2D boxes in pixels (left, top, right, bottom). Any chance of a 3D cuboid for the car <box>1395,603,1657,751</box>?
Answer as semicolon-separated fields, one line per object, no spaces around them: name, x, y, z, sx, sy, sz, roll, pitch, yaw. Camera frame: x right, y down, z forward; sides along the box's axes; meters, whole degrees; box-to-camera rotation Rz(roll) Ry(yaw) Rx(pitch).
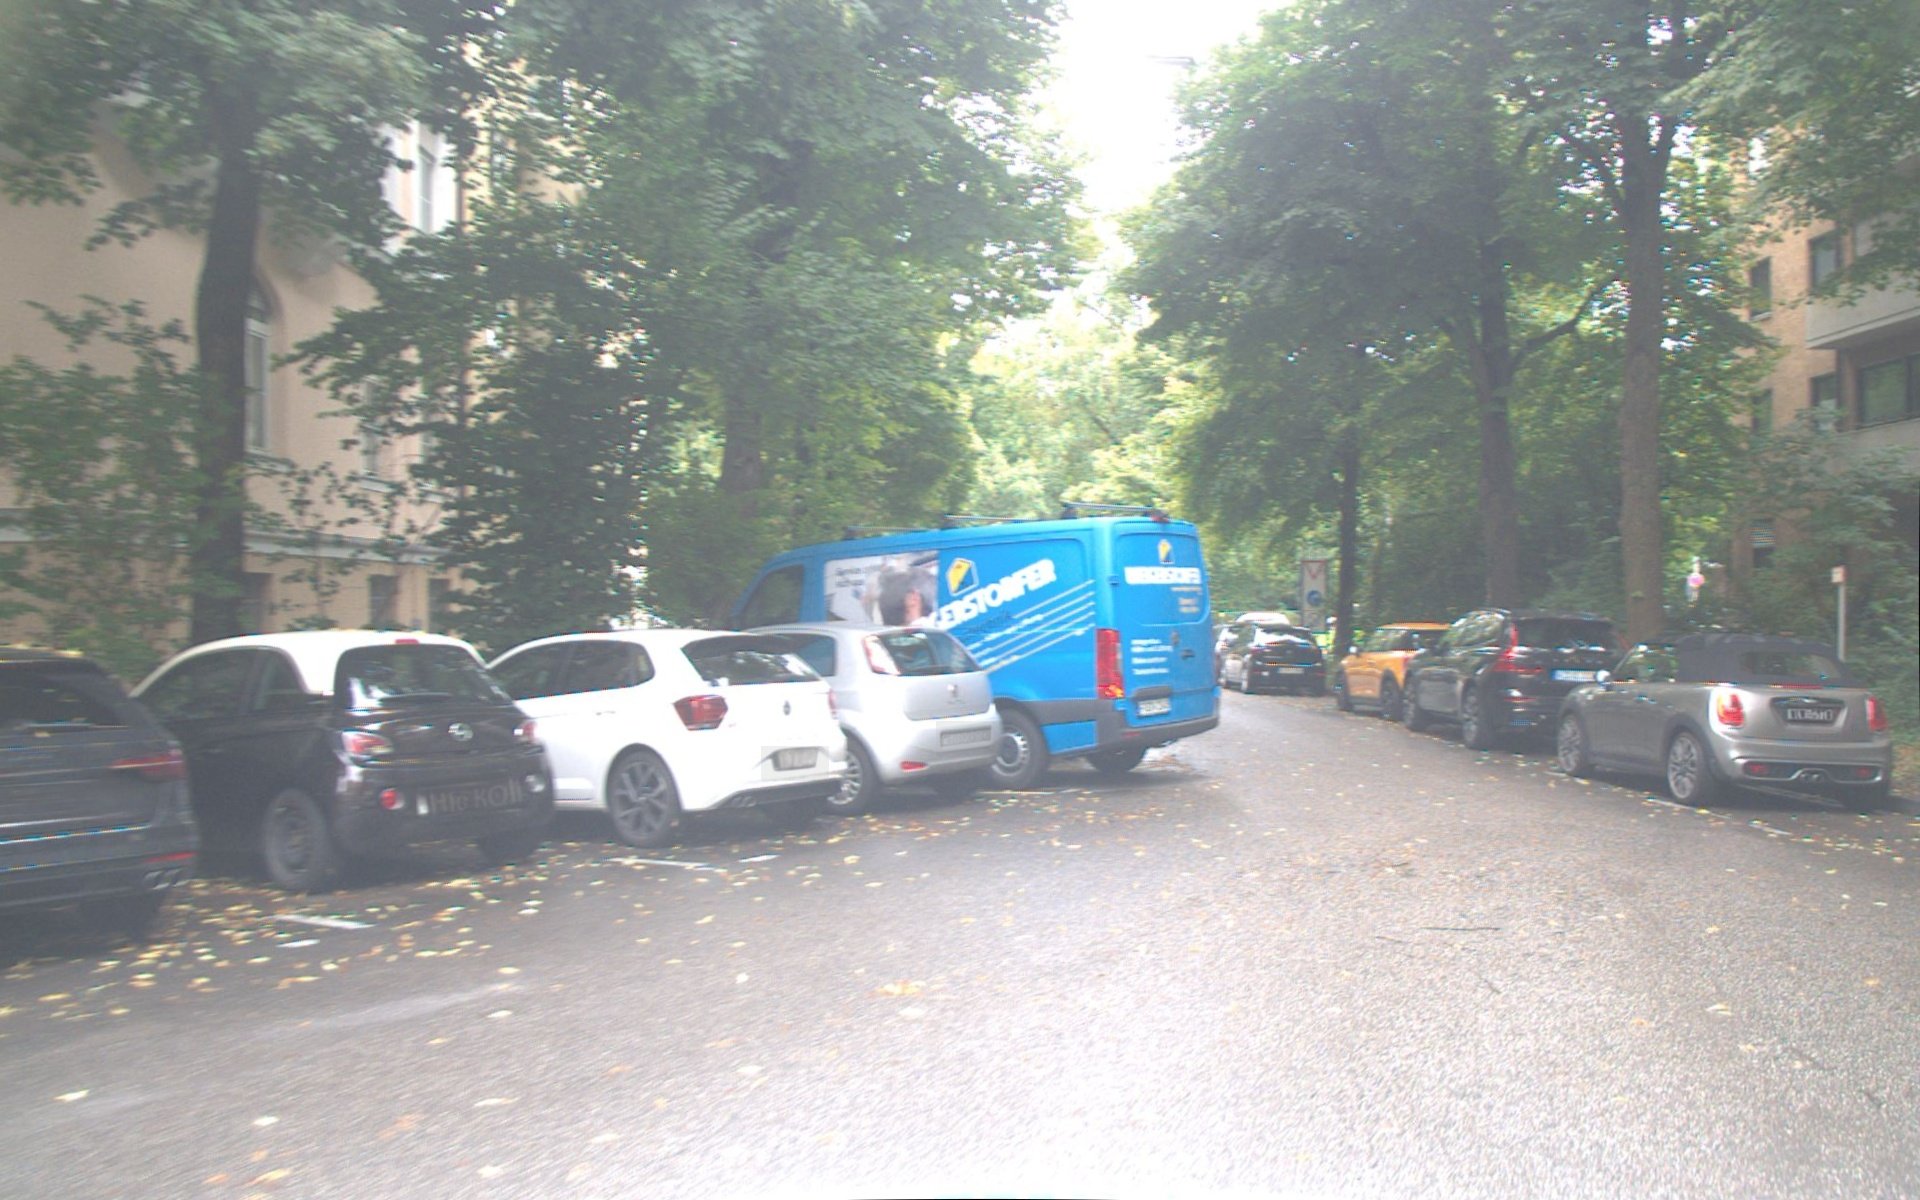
car;6.914;0.867;20.732;1.794;1.657;4.526;0;0;1

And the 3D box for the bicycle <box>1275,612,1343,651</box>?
bicycle;9.096;0.824;43.127;1.714;0.999;0.273;-1;-1;9

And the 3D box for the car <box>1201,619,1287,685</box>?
car;6.795;1.209;39.858;1.613;1.500;3.644;0;0;3

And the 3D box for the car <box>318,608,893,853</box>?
car;-2.742;0.989;12.415;4.198;1.539;1.797;-5;-3;35

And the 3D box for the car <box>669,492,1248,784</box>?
car;-0.151;0.448;16.010;5.385;2.395;2.058;-4;-2;36

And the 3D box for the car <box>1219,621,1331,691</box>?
car;6.712;1.168;35.602;1.647;1.382;4.008;0;0;0

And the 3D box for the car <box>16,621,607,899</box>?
car;-4.239;1.002;10.643;3.674;1.450;1.826;-5;-3;36

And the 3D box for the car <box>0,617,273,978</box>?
car;-5.379;0.918;8.218;4.082;1.450;1.856;-4;-2;38

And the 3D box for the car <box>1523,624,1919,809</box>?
car;7.021;0.978;15.623;1.860;1.438;4.429;-2;-1;0

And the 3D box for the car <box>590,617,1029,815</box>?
car;-1.325;0.928;13.964;3.483;1.458;1.637;-3;-2;36

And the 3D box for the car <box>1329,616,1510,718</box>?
car;7.051;0.985;25.755;1.586;1.437;3.777;0;0;-3
